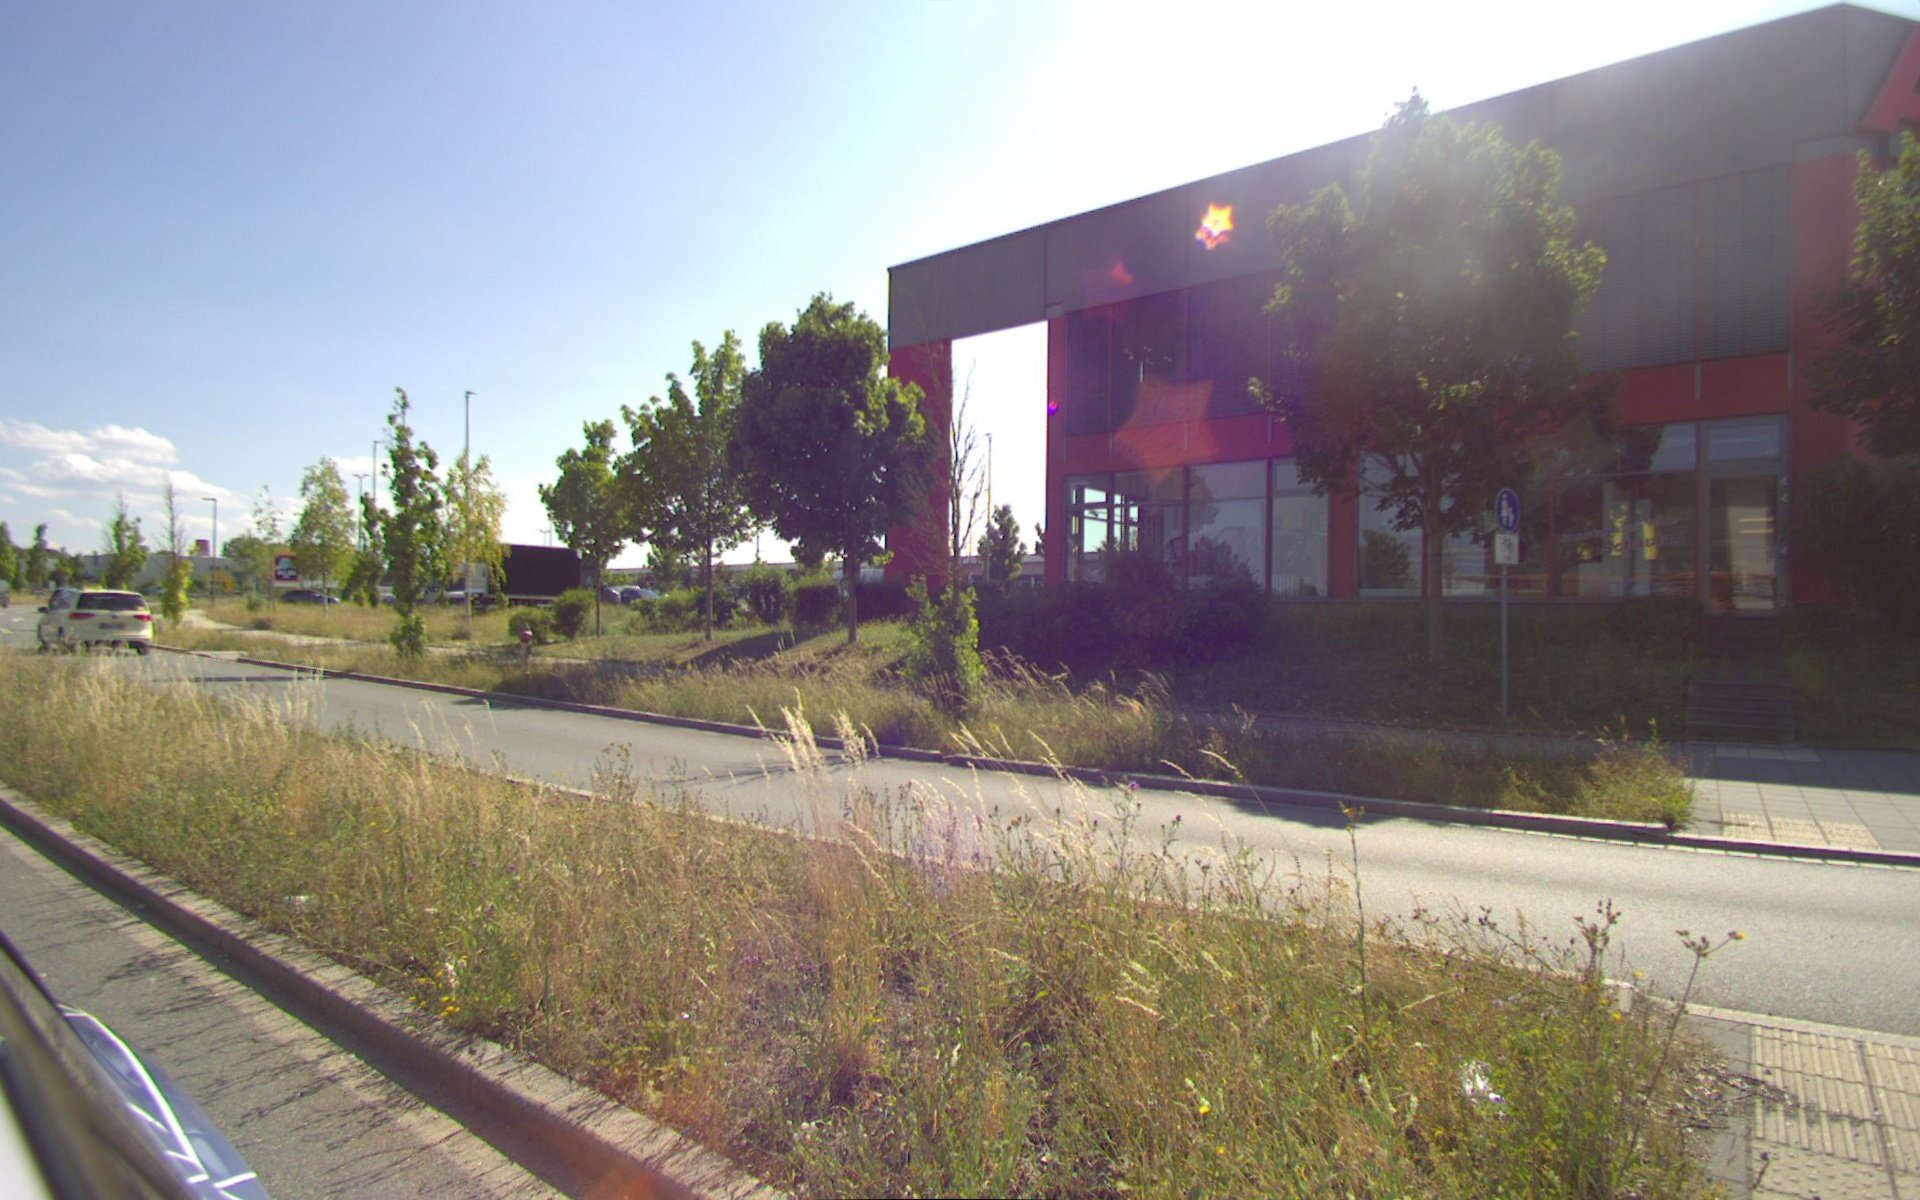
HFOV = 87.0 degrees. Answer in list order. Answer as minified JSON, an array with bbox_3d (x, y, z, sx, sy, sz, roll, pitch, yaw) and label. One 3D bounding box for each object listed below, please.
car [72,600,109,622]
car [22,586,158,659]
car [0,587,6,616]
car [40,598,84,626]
[{"bbox_3d":[-72.178,0.918,84.086,1.967,1.697,4.009,2,-2,-36],"label":"car"},{"bbox_3d":[-22.355,0.572,25.957,4.151,1.728,1.839,0,-2,38],"label":"car"},{"bbox_3d":[-68.756,0.043,70.815,2.046,2.064,4.695,2,-2,-33],"label":"car"},{"bbox_3d":[-56.038,0.753,63.131,1.969,1.630,4.004,2,-2,-43],"label":"car"}]
